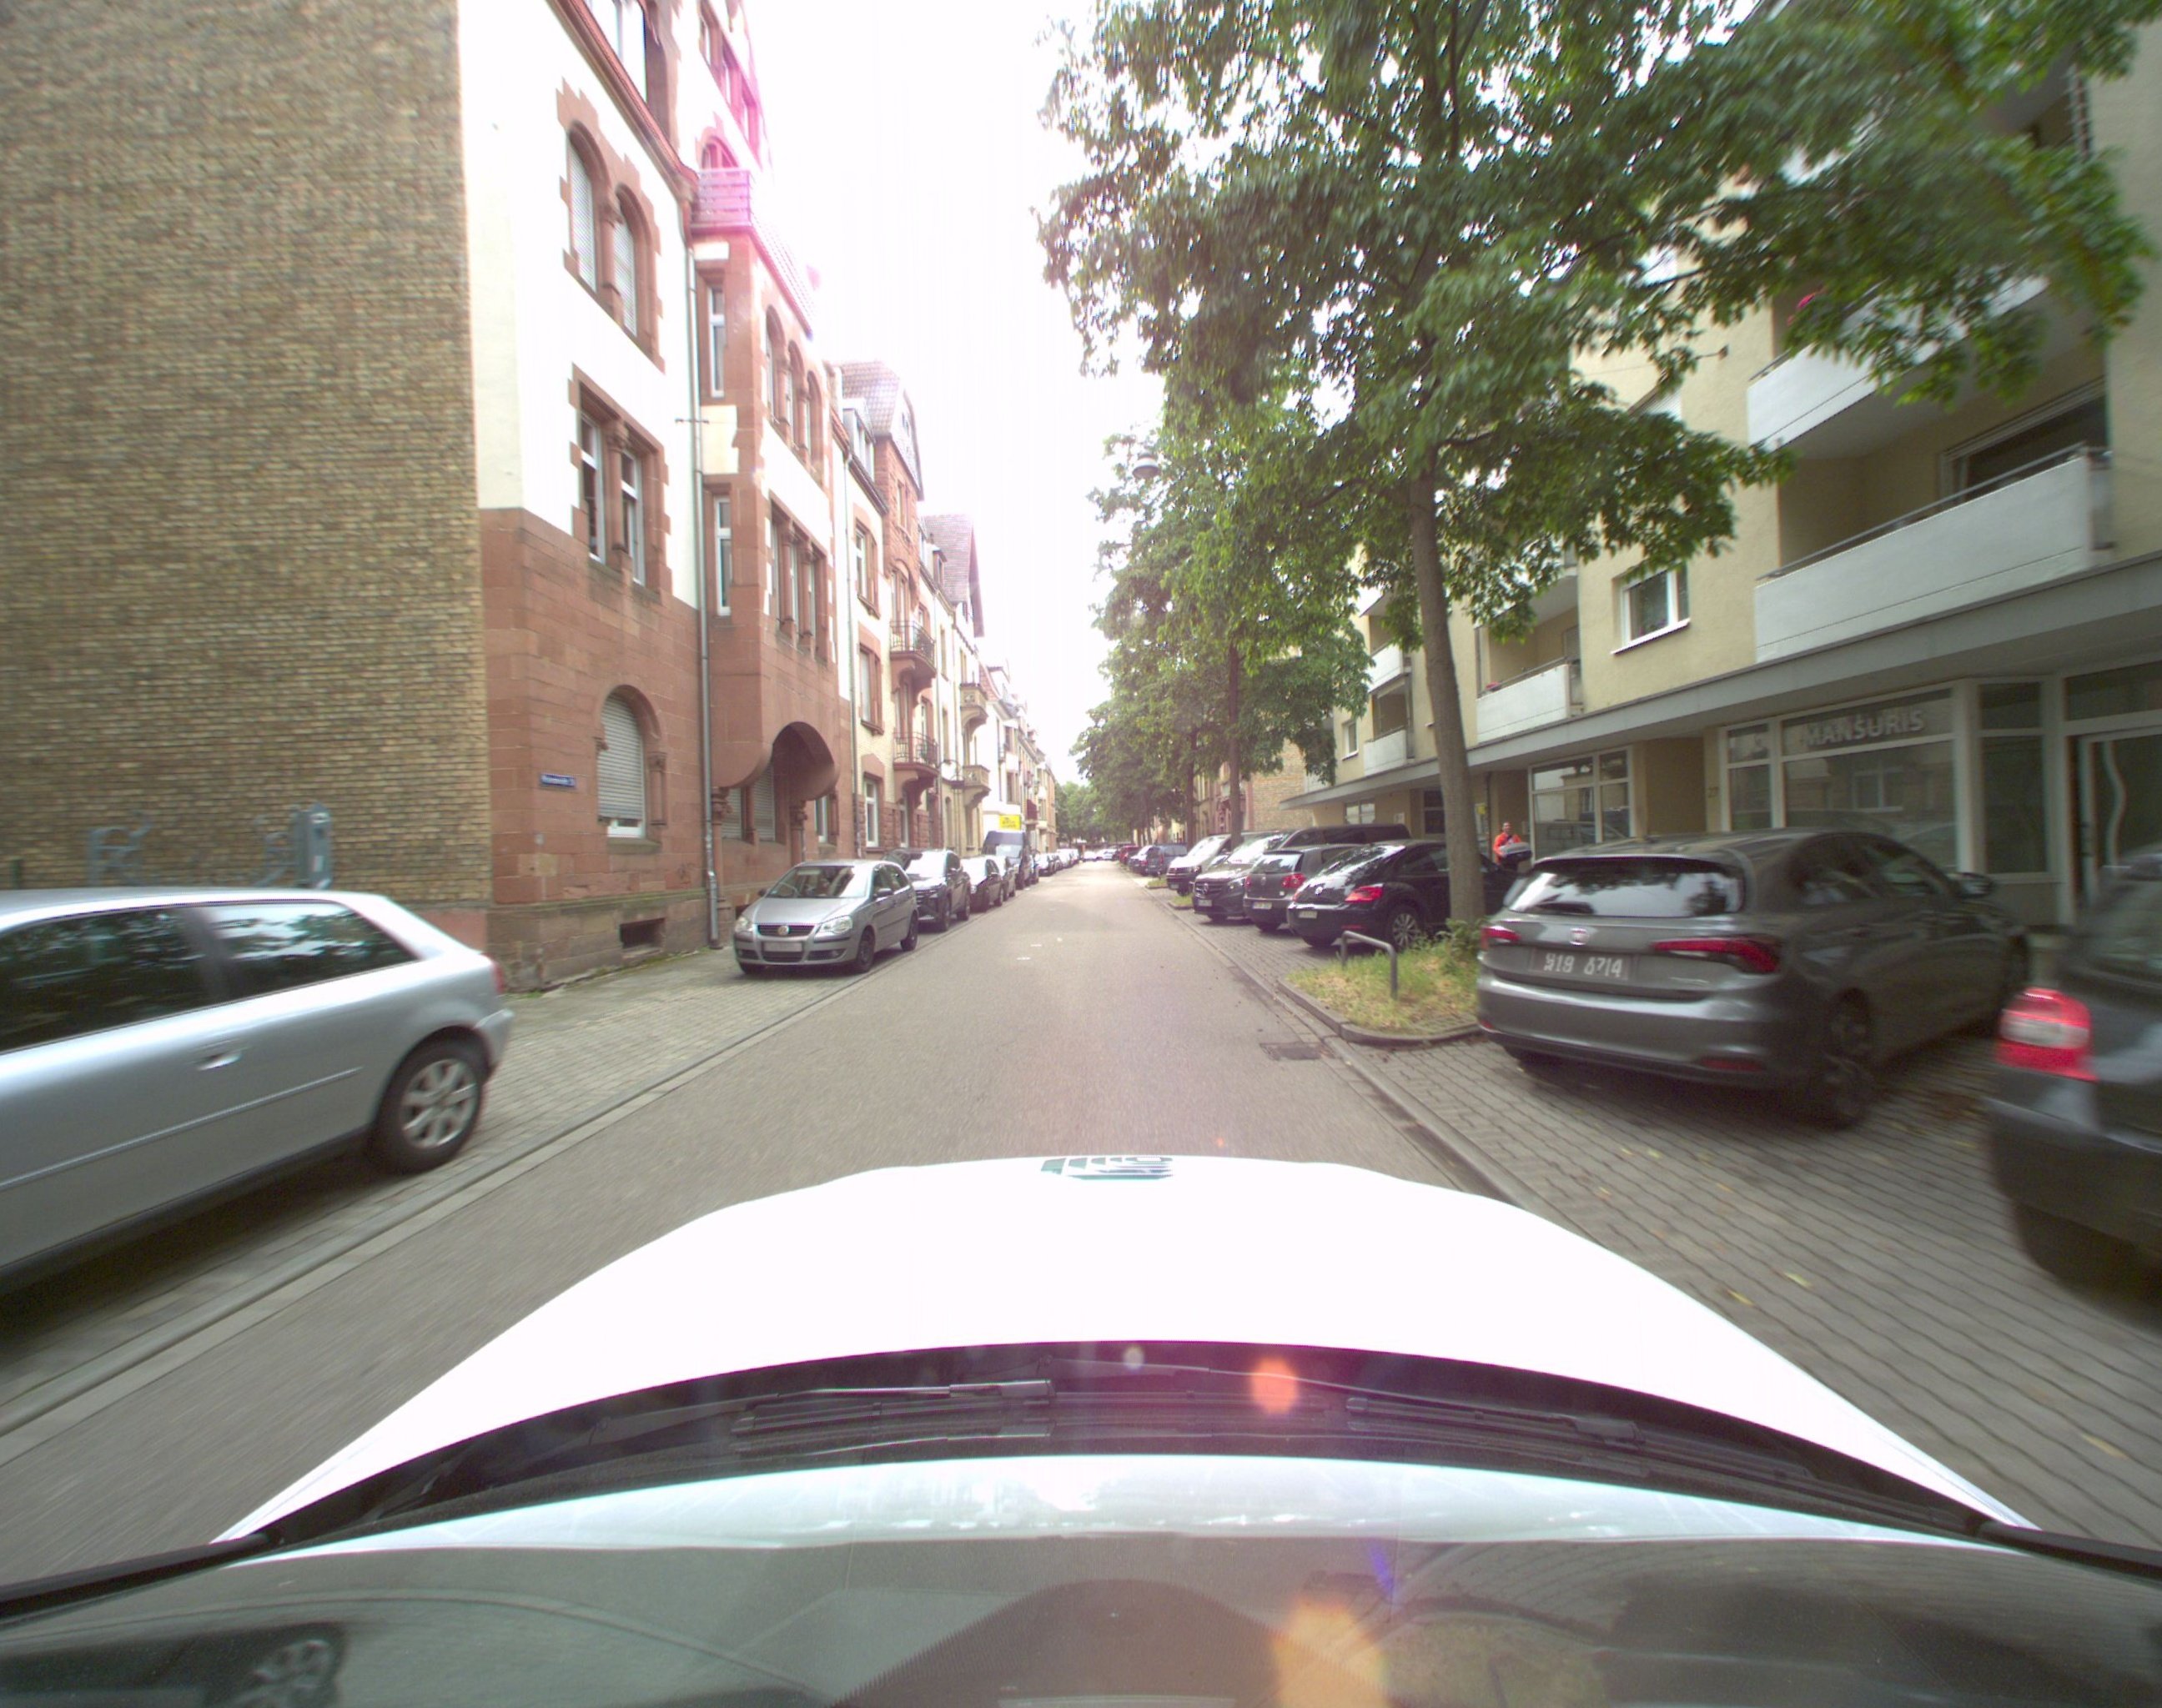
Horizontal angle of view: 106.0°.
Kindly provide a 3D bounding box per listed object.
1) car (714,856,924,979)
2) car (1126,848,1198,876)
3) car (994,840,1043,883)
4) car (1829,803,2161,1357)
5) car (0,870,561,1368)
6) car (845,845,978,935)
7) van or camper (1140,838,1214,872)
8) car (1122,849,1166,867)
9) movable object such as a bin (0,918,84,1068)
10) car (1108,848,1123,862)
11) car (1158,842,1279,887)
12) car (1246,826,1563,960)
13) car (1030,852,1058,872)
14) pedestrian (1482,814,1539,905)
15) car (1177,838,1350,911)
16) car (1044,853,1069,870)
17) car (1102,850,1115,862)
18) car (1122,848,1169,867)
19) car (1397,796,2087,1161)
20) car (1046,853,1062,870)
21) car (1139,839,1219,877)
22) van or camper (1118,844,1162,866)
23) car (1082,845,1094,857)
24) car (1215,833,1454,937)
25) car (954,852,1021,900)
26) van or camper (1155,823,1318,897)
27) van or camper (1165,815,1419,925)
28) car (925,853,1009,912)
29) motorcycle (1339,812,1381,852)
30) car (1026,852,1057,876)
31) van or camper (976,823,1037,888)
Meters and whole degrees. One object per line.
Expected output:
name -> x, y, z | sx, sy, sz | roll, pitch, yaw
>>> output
car -> -3.529, 0.771, 11.743 | 1.656, 1.420, 3.930 | -1, 0, 1
car -> 5.017, 0.492, 50.425 | 4.035, 1.559, 1.866 | -2, 0, -30
car -> -3.154, 0.358, 42.058 | 1.986, 2.013, 4.893 | -2, 0, 2
car -> 4.538, 0.534, 2.607 | 3.372, 1.496, 1.839 | -3, 0, -21
car -> -4.019, 0.815, 2.800 | 1.720, 1.386, 4.138 | -1, 0, 1
car -> -3.407, 0.648, 17.179 | 1.780, 1.646, 4.363 | -1, 0, 1
van or camper -> 6.766, 0.058, 57.181 | 4.805, 2.137, 2.036 | -2, 0, -30
car -> 5.728, 0.329, 74.162 | 3.754, 1.465, 1.726 | -2, 0, -5
movable object such as a bin -> -8.204, 1.039, 6.069 | 0.611, 1.055, 0.730 | -1, 0, 1
car -> 5.091, 0.167, 120.906 | 1.987, 2.013, 4.001 | 1, 0, 1
car -> 5.353, 0.401, 31.558 | 4.329, 1.392, 1.904 | -4, 0, -30
car -> 4.646, 0.473, 11.697 | 4.059, 1.483, 1.931 | -3, 0, -25
car -> -2.646, 0.555, 59.304 | 1.823, 1.426, 3.802 | 1, 0, 1
pedestrian -> 8.565, 0.114, 16.267 | 0.622, 1.742, 0.849 | -3, 0, 1
car -> 4.596, 0.466, 20.408 | 4.021, 1.444, 1.824 | -4, 0, -30
car -> -2.285, 0.721, 76.909 | 1.986, 1.475, 4.001 | -2, 0, 1
car -> 4.307, 0.286, 128.523 | 1.986, 1.794, 4.001 | -1, -1, 1
car -> 5.481, 0.277, 69.623 | 3.754, 1.465, 1.726 | -2, 0, -4
car -> 4.465, 0.522, 5.468 | 4.236, 1.500, 1.959 | -4, 0, -26
car -> -2.312, 0.632, 69.413 | 1.132, 1.309, 3.261 | -2, 0, 1
car -> 5.729, 0.239, 47.586 | 4.197, 1.869, 1.981 | -4, -1, -29
van or camper -> 6.073, 0.061, 83.773 | 4.169, 2.085, 1.935 | -2, 0, -27
car -> 1.147, -0.426, 124.529 | 1.814, 1.645, 3.754 | -1, -1, 1
car -> 4.574, 0.489, 14.654 | 3.872, 1.502, 1.895 | -3, 0, -28
car -> -3.086, 0.715, 27.537 | 1.661, 1.473, 4.001 | -1, -1, 2
van or camper -> 4.972, 0.181, 26.065 | 4.752, 1.994, 1.984 | -4, -2, -24
van or camper -> 4.539, 0.277, 17.418 | 5.033, 1.869, 2.108 | -4, 0, -27
car -> -3.072, 0.723, 22.648 | 1.628, 1.473, 4.001 | -1, 0, 2
motorcycle -> 9.860, -0.744, 28.849 | 0.675, 1.301, 2.253 | -5, 0, 1
car -> -2.583, 0.623, 53.715 | 1.783, 1.480, 4.023 | -1, 0, 1
van or camper -> -3.245, 0.057, 36.516 | 2.001, 2.651, 5.317 | -2, 0, 1
